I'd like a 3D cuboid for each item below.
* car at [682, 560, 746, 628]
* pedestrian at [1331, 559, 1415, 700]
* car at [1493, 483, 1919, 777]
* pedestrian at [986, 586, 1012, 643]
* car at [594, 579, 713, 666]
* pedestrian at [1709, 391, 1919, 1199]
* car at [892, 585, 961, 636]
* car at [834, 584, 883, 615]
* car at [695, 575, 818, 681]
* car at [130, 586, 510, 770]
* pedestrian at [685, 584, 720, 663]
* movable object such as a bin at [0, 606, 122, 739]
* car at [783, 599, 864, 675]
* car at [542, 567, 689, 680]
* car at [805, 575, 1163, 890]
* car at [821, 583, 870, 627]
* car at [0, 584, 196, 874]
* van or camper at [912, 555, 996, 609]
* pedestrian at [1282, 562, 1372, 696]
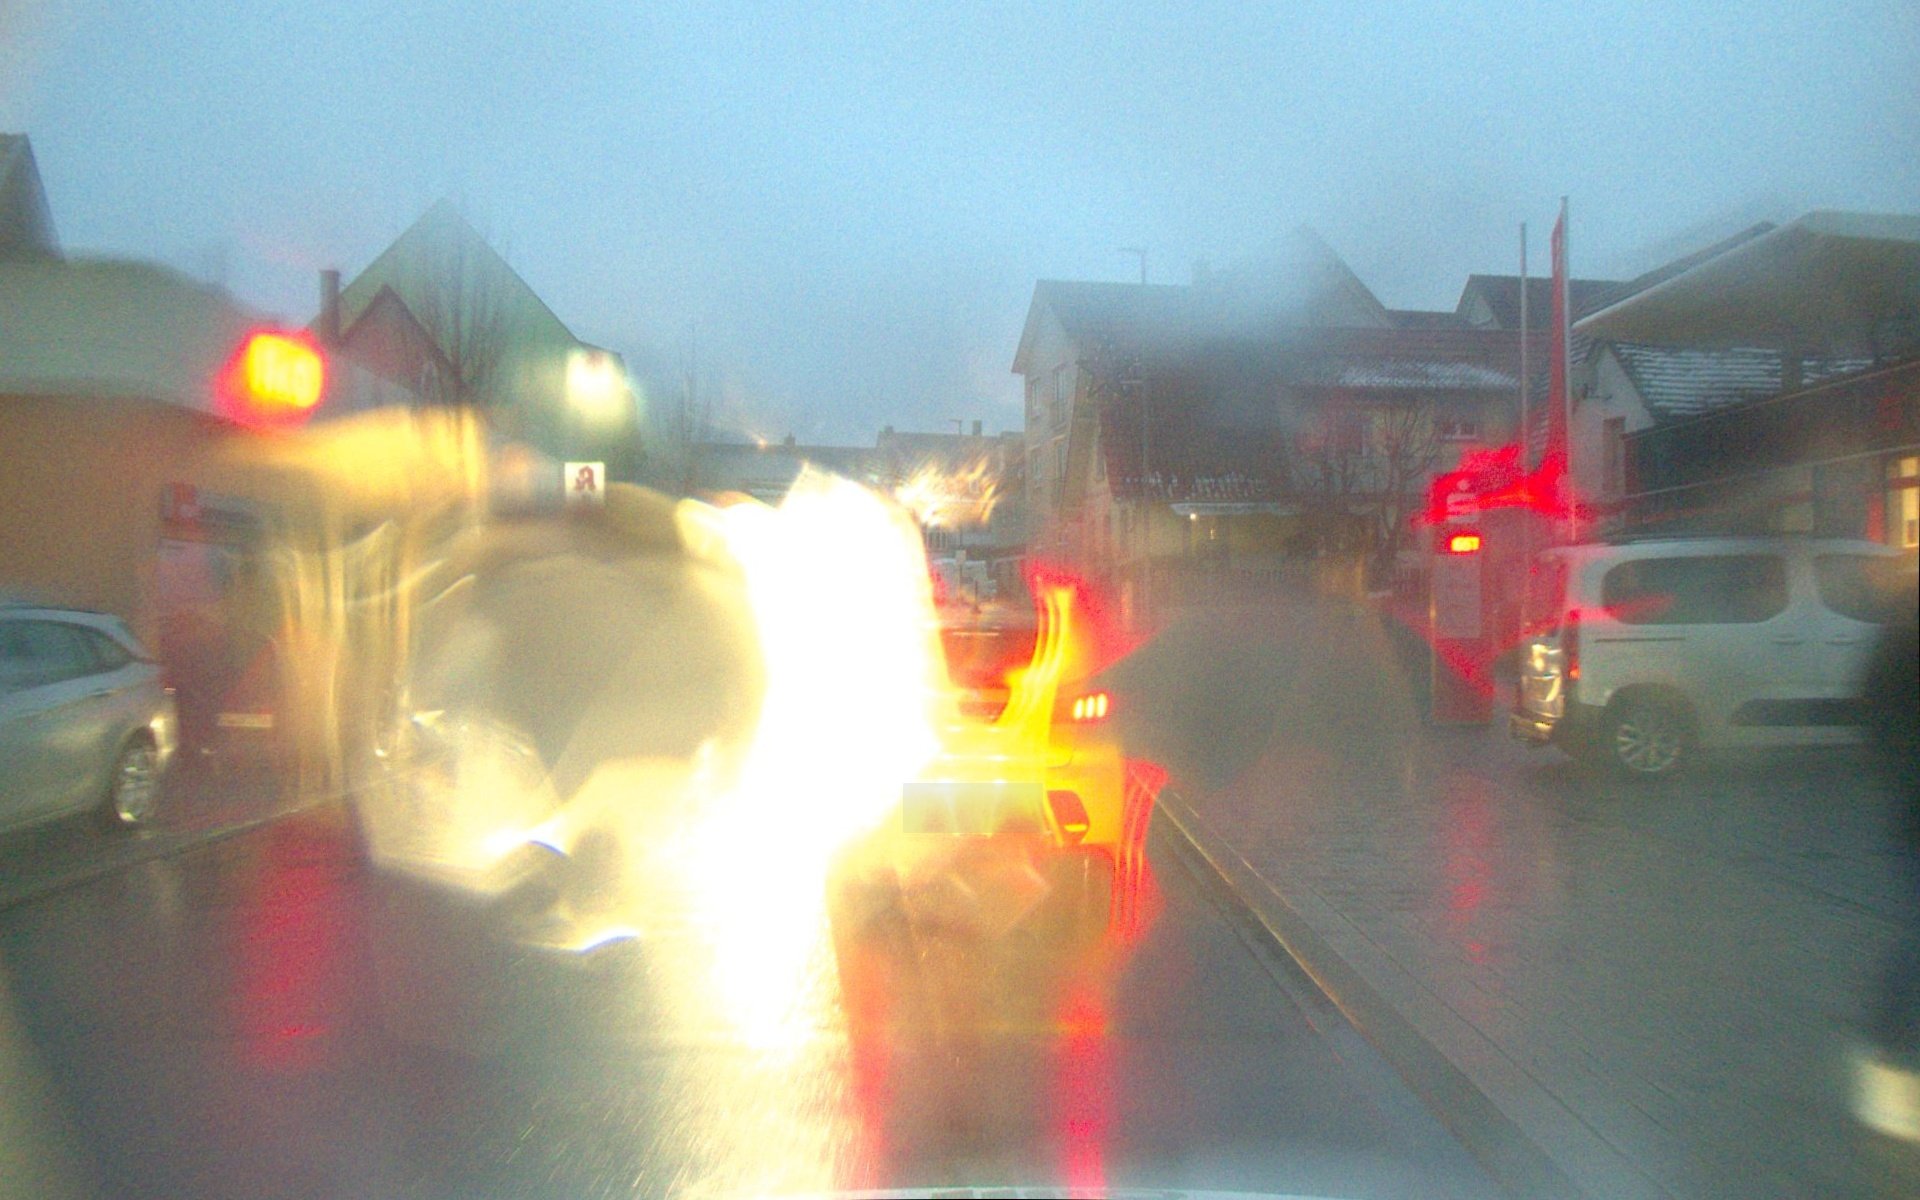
[{"bbox_3d":[-10.219,-0.198,68.802,2.439,2.605,6.747,1,-1,-9],"label":"car"},{"bbox_3d":[5.236,0.365,20.995,0.690,1.735,0.913,-2,0,-9],"label":"pedestrian"},{"bbox_3d":[6.537,0.203,13.151,4.004,2.085,2.002,-2,0,6],"label":"car"},{"bbox_3d":[1.229,0.443,52.307,0.730,1.759,0.872,0,1,-5],"label":"pedestrian"},{"bbox_3d":[-6.553,0.458,35.842,1.842,1.740,4.710,1,0,-2],"label":"car"},{"bbox_3d":[2.666,0.453,4.156,0.948,1.922,1.005,-4,0,-4],"label":"pedestrian"},{"bbox_3d":[-1.153,0.336,54.631,1.955,1.616,3.995,1,0,-6],"label":"car"},{"bbox_3d":[-6.267,-0.076,101.352,1.963,1.795,4.328,-2,1,-18],"label":"car"},{"bbox_3d":[-3.781,0.451,31.538,1.954,1.735,4.964,2,1,-4],"label":"car"},{"bbox_3d":[-6.086,0.661,16.484,1.953,1.549,4.976,0,0,-1],"label":"car"},{"bbox_3d":[-5.397,0.483,34.607,0.524,1.613,0.569,-1,1,-37],"label":"pedestrian"},{"bbox_3d":[-10.139,0.796,18.264,1.316,1.377,0.886,-3,0,-11],"label":"movable object such as a bin"},{"bbox_3d":[-3.481,0.893,42.053,1.914,1.573,4.412,-1,3,-5],"label":"car"},{"bbox_3d":[-6.070,0.364,29.673,2.045,1.823,5.018,1,0,-6],"label":"car"},{"bbox_3d":[-0.004,0.672,10.300,1.778,1.560,3.997,1,0,-4],"label":"car"},{"bbox_3d":[-5.238,0.231,75.249,1.956,1.890,3.993,1,0,-8],"label":"car"},{"bbox_3d":[-6.235,0.696,9.106,1.953,1.585,4.619,1,0,-1],"label":"car"},{"bbox_3d":[-0.456,-1.086,102.708,2.617,3.100,6.683,-4,1,-24],"label":"van or camper"},{"bbox_3d":[4.886,0.378,22.034,0.830,1.735,0.834,-2,0,43],"label":"pedestrian"}]
